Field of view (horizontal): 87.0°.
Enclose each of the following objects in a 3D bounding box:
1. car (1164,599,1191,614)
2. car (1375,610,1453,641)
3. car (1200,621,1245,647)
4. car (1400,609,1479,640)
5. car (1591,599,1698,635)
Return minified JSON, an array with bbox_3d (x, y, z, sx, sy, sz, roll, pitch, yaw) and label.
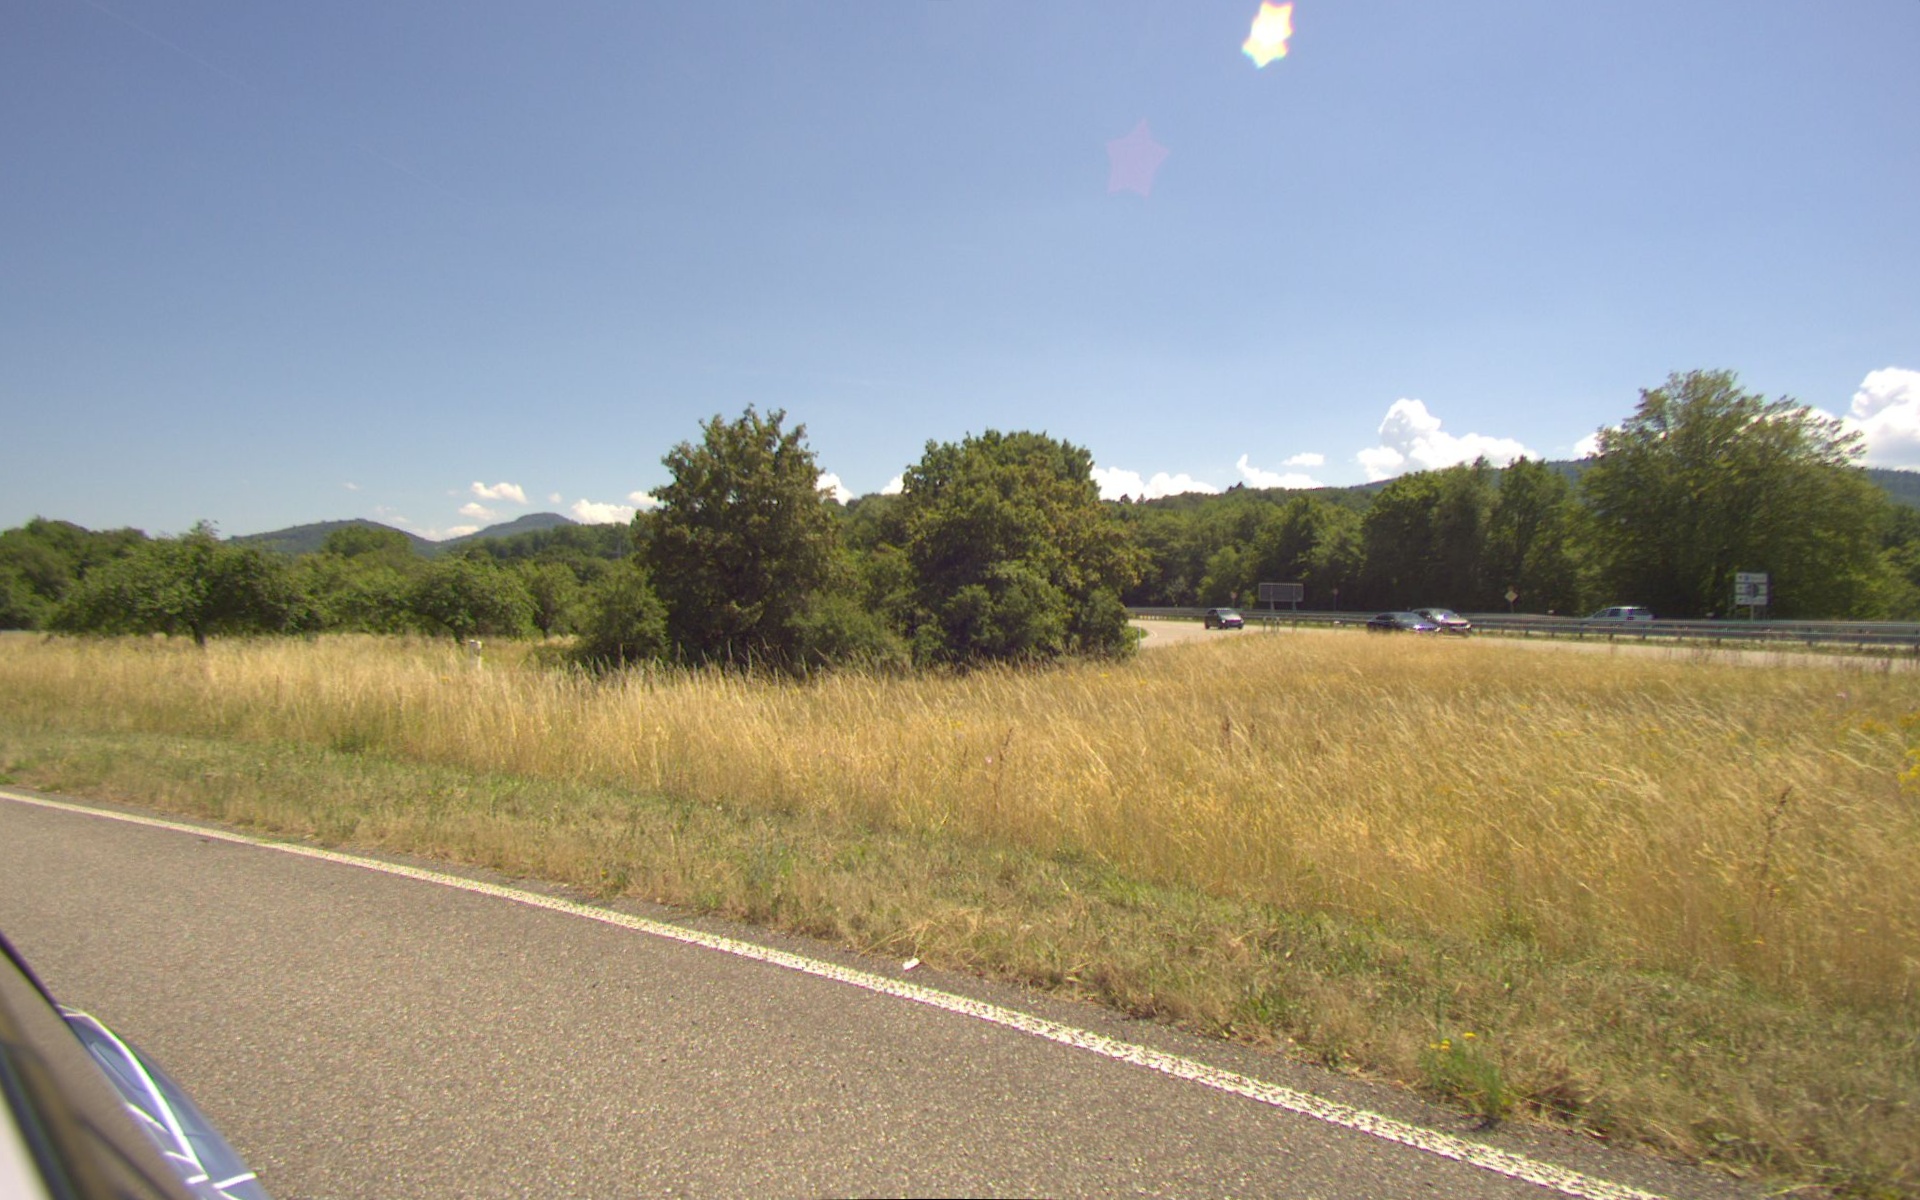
[{"bbox_3d":[28.676,0.888,133.630,1.969,1.907,4.918,-1,0,-5],"label":"car"},{"bbox_3d":[22.570,1.283,50.489,1.821,1.418,4.469,-2,-1,0],"label":"car"},{"bbox_3d":[19.681,2.493,76.001,1.771,1.680,4.560,0,1,-5],"label":"car"},{"bbox_3d":[25.468,1.311,53.974,1.820,1.541,4.472,-2,-1,-3],"label":"car"},{"bbox_3d":[35.696,0.831,52.963,1.907,1.764,4.919,-1,0,-6],"label":"car"}]
